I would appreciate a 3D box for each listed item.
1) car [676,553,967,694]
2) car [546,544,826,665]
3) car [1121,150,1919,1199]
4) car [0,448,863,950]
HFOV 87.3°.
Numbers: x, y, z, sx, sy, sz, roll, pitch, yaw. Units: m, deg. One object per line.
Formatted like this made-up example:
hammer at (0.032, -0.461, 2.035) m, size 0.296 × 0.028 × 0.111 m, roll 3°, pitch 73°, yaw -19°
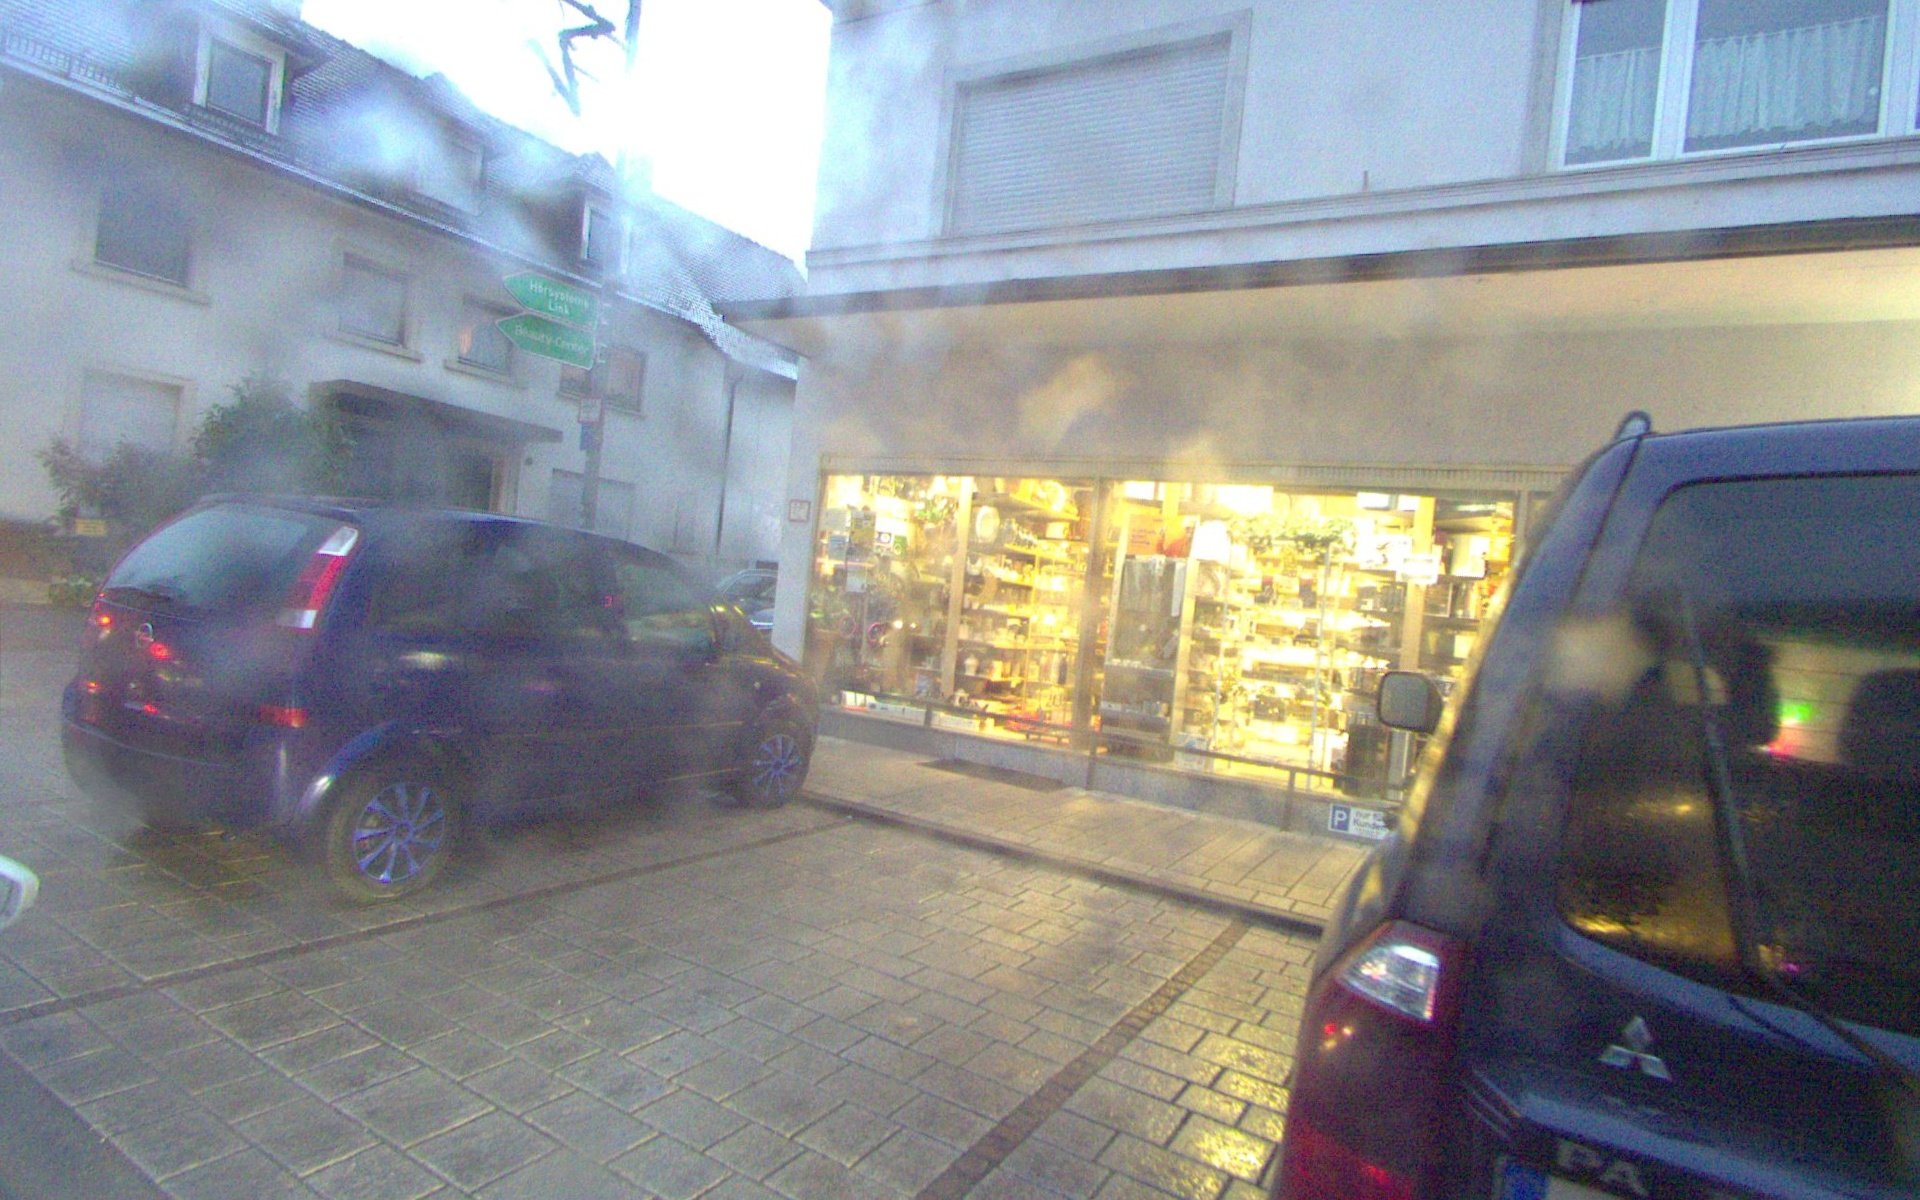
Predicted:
car at (-1.818, 0.377, 14.469) m, size 1.967 × 1.590 × 3.991 m, roll 6°, pitch 0°, yaw 31°
car at (-4.230, 0.148, 16.111) m, size 1.905 × 1.543 × 3.990 m, roll 6°, pitch 0°, yaw 33°
car at (2.020, 0.779, 2.491) m, size 1.911 × 1.798 × 4.612 m, roll 7°, pitch 1°, yaw 27°
car at (-2.319, 0.375, 5.404) m, size 1.652 × 1.599 × 3.878 m, roll 7°, pitch 0°, yaw 26°
